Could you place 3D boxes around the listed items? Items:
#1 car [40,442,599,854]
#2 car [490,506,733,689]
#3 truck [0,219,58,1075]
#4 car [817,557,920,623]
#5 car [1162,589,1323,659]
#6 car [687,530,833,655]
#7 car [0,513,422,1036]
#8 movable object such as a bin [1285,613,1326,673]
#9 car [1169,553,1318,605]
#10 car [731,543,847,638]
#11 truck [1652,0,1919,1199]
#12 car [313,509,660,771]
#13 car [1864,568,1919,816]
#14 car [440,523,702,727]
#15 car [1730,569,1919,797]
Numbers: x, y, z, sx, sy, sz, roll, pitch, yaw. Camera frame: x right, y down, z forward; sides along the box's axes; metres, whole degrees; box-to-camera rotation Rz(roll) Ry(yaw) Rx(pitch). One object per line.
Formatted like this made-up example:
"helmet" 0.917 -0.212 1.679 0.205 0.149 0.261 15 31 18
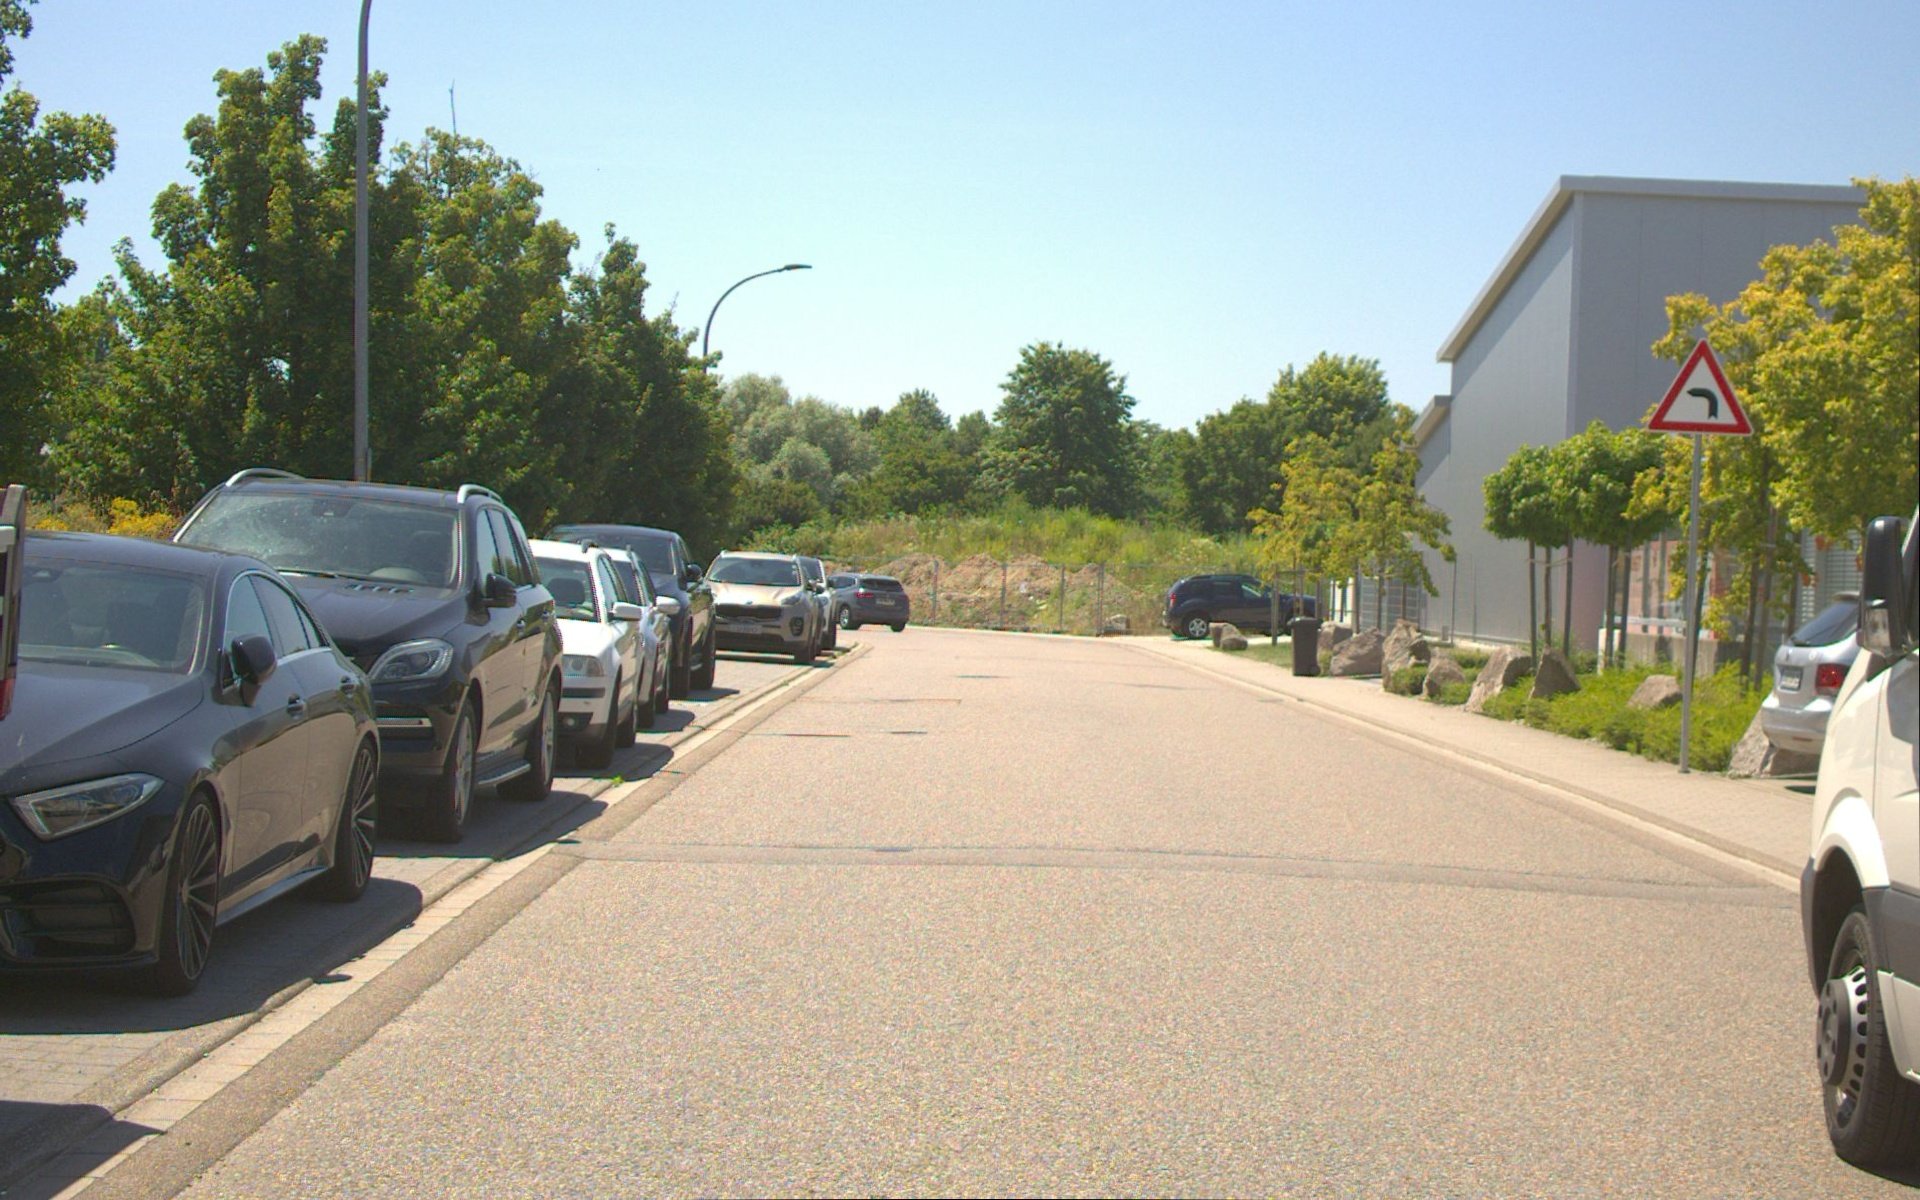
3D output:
"car" -3.173 0.187 18.109 1.851 1.752 4.987 4 1 1
"car" -3.666 -0.057 36.998 1.991 1.707 5.007 4 1 0
"truck" -3.360 0.121 6.801 1.851 2.215 4.646 4 1 -1
"car" -2.581 -0.304 96.259 1.912 1.707 4.032 2 1 -16
"car" 7.370 0.622 89.927 4.009 1.650 1.858 -2 0 0
"car" -3.024 -0.138 52.740 1.912 1.707 4.413 4 1 0
"car" -3.248 0.438 12.198 1.851 1.438 4.754 4 1 0
"movable object such as a bin" 5.529 0.691 55.035 0.558 0.943 0.539 1 0 -1
"car" 7.916 -0.590 96.227 4.009 1.457 1.893 0 0 -1
"car" -3.173 -0.205 64.643 1.912 1.650 4.755 2 1 0
"truck" 3.248 0.008 6.728 2.457 3.194 6.882 2 1 1
"car" -3.153 0.213 23.812 1.851 1.514 4.905 4 1 -3
"car" 7.851 0.613 21.848 3.692 1.536 1.913 1 1 2
"car" -3.306 0.160 30.127 1.851 1.514 5.168 4 1 -3
"car" 7.825 0.598 24.407 4.279 1.536 1.913 1 1 2
